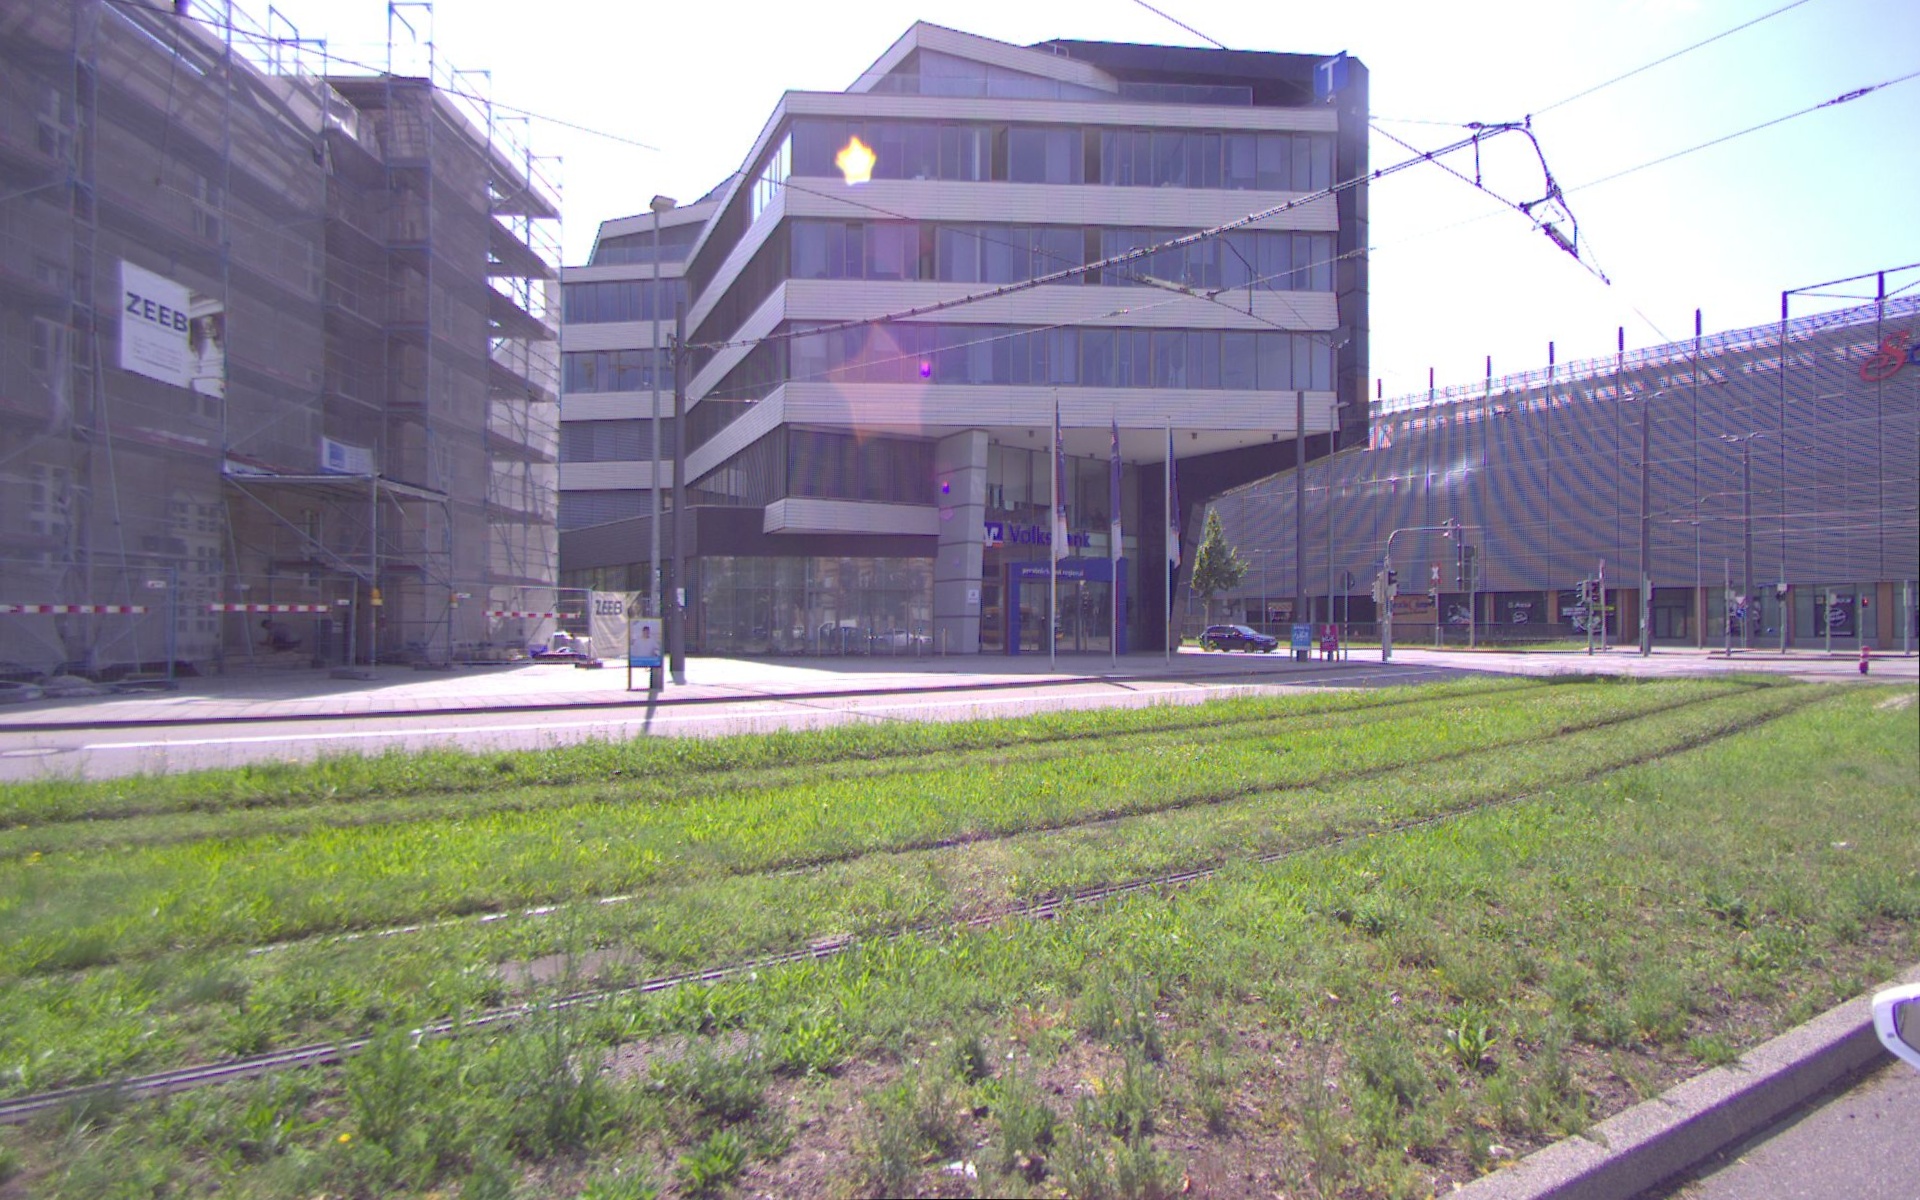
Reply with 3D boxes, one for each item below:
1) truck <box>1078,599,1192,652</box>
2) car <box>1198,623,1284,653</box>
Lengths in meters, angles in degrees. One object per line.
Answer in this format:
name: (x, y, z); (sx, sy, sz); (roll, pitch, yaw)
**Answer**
truck: (10.100, 1.474, 58.616); (2.424, 2.866, 6.796); (1, -1, -38)
car: (14.630, 1.933, 52.475); (1.810, 1.488, 4.069); (1, -1, -36)
